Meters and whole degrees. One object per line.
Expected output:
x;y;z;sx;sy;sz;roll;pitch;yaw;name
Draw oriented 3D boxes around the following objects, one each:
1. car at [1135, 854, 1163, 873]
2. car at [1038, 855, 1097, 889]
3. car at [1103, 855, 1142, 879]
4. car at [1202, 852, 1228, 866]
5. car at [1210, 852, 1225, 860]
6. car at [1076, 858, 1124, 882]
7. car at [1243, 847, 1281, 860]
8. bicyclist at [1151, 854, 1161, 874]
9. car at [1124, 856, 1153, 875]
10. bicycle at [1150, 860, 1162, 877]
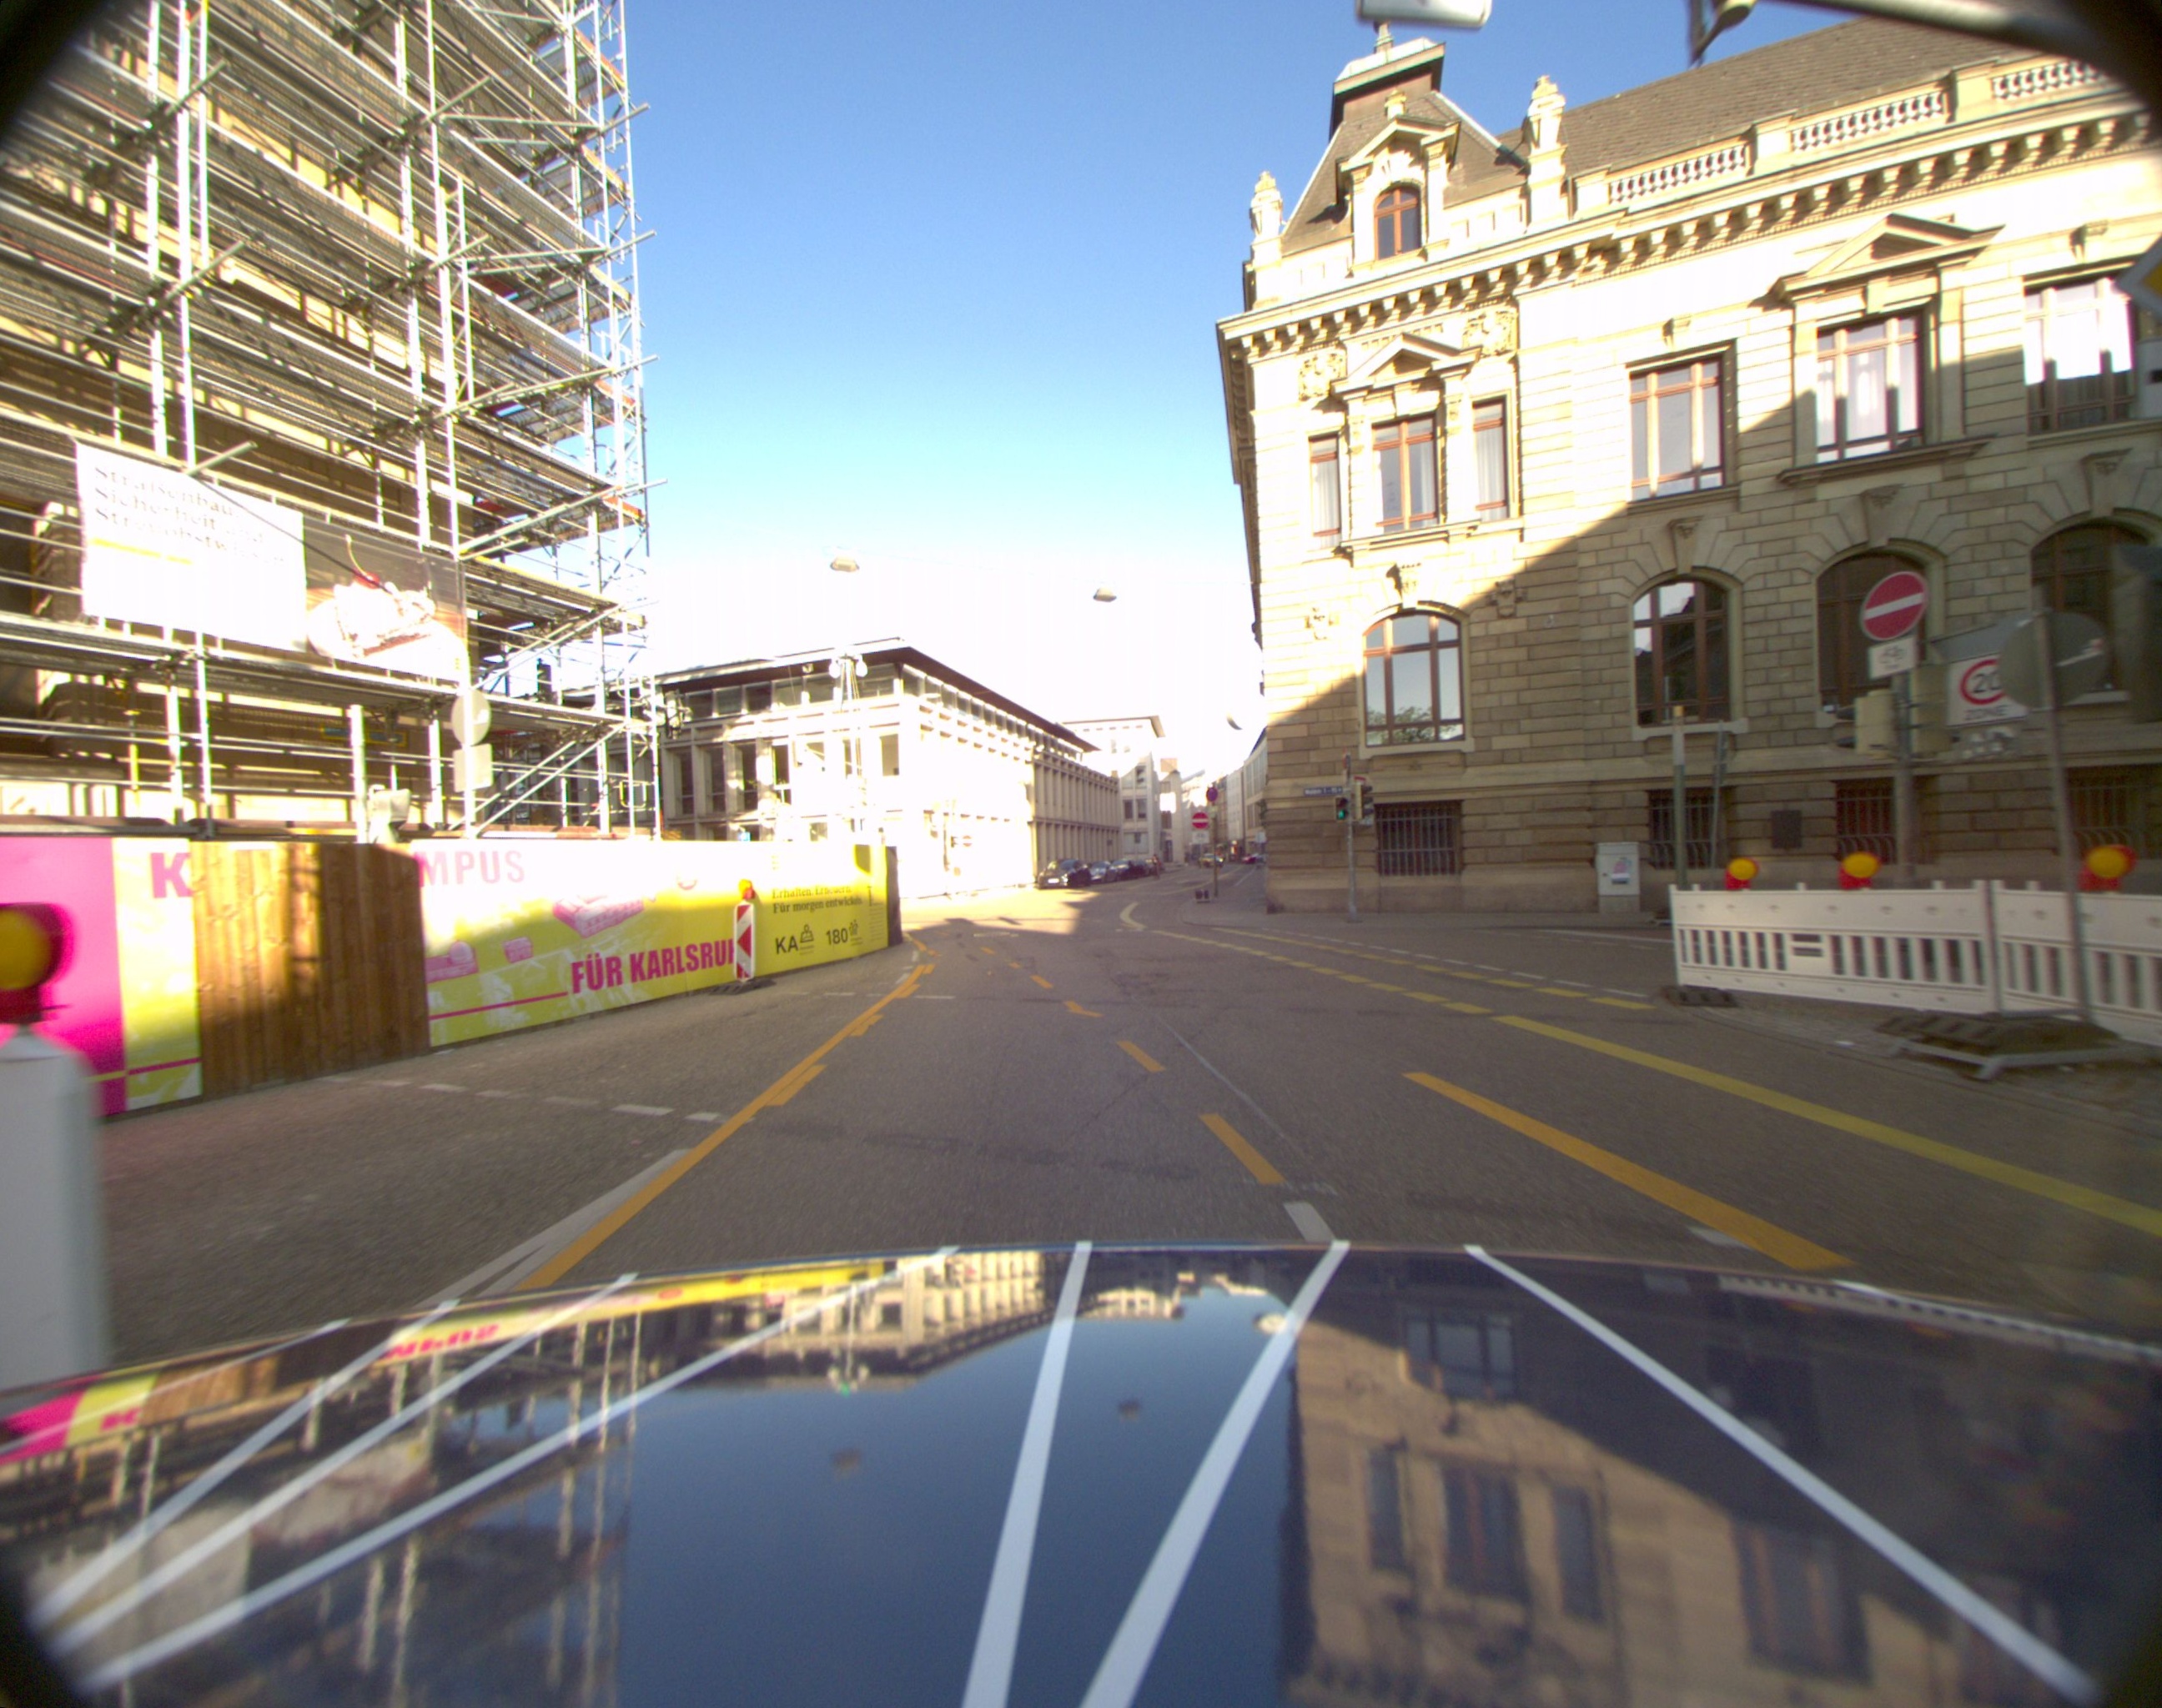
5.801;0.791;64.456;1.696;1.483;4.259;-2;0;14;car
-0.674;0.917;41.254;1.896;1.614;4.626;-2;0;16;car
2.994;0.889;53.397;1.699;1.462;4.797;-2;0;15;car
14.991;0.562;85.327;1.854;1.483;4.253;-2;0;-3;car
25.057;0.386;139.452;2.053;1.482;4.272;-2;0;3;car
1.273;0.965;47.735;1.699;1.336;4.604;-2;0;18;car
22.539;-0.058;94.804;4.267;1.462;1.633;-2;0;2;car
4.940;0.661;50.110;0.537;1.281;0.552;-2;0;12;bicyclist
4.529;0.883;59.236;1.630;1.391;3.890;-2;0;13;car
4.950;0.967;50.084;0.534;1.060;1.427;-2;0;13;bicycle
